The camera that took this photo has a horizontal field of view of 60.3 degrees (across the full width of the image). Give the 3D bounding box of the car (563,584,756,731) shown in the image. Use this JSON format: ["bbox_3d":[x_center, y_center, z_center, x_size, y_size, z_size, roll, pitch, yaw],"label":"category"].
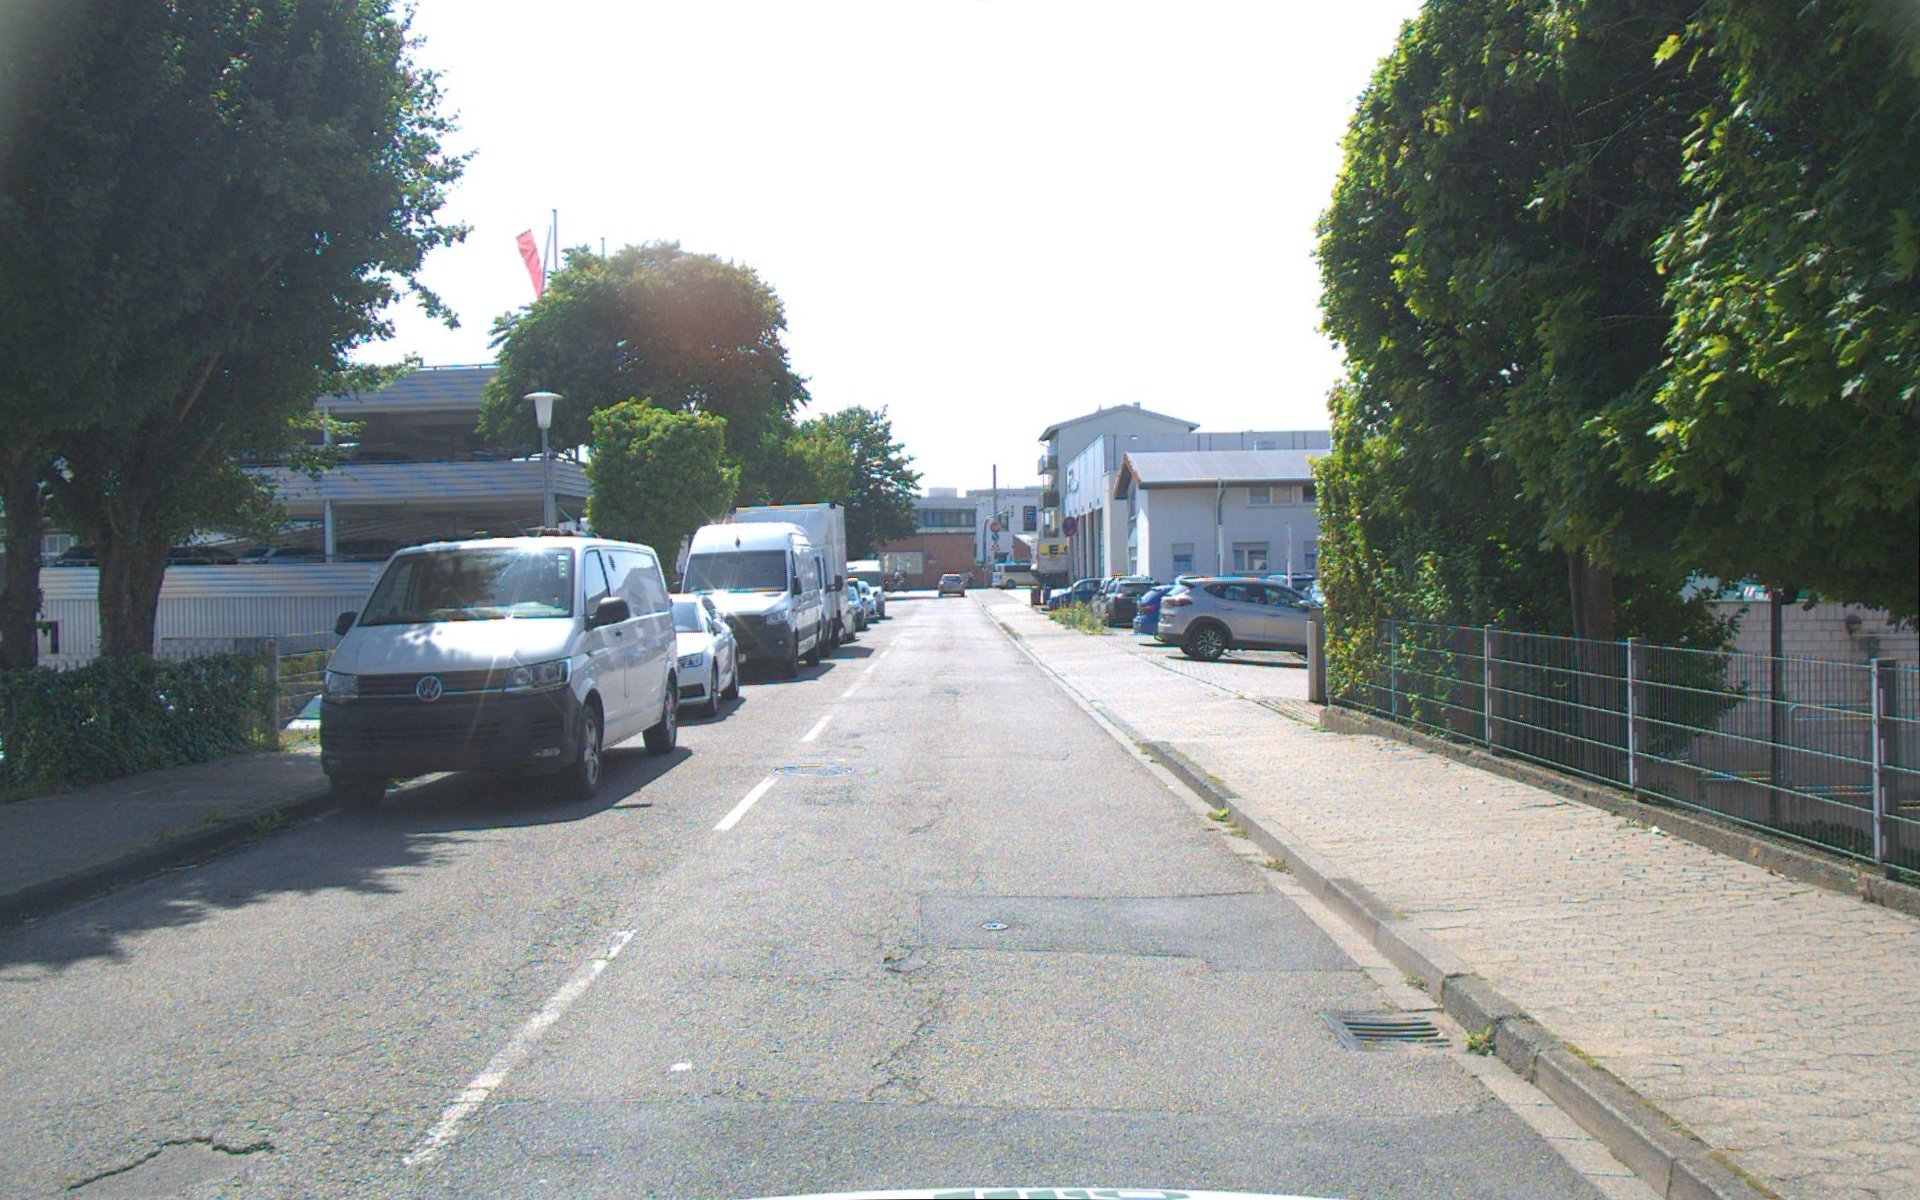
[{"bbox_3d":[-3.665,0.639,20.859,1.679,1.570,4.399,-3,0,-2],"label":"car"}]

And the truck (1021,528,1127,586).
[{"bbox_3d":[8.348,-3.161,121.620,7.220,3.708,2.764,-4,1,-7],"label":"truck"}]

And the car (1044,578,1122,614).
[{"bbox_3d":[5.216,-0.184,70.414,3.186,1.423,1.673,-1,1,0],"label":"car"}]

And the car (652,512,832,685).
[{"bbox_3d":[-3.731,-0.036,29.672,2.124,2.641,6.920,-3,0,1],"label":"car"}]

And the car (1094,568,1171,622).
[{"bbox_3d":[5.471,-0.207,52.975,1.820,1.595,4.951,-1,1,-1],"label":"car"}]

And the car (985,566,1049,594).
[{"bbox_3d":[4.444,-1.573,129.825,4.585,1.992,1.905,-3,-1,-20],"label":"car"}]

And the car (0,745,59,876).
[{"bbox_3d":[-16.359,3.462,26.168,1.823,1.963,4.354,0,0,0],"label":"car"}]

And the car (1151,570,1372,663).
[{"bbox_3d":[6.091,0.321,33.740,4.116,1.711,1.766,2,0,-1],"label":"car"}]

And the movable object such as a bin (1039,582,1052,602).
[{"bbox_3d":[4.049,-0.384,78.409,0.502,0.962,0.488,-2,1,11],"label":"movable object such as a bin"}]

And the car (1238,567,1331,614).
[{"bbox_3d":[11.420,-0.352,58.441,1.728,1.522,4.138,-3,1,-11],"label":"car"}]

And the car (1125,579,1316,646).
[{"bbox_3d":[6.215,0.277,39.798,4.264,1.466,1.892,-2,1,-1],"label":"car"}]

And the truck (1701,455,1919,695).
[{"bbox_3d":[16.762,-0.436,26.860,8.103,3.674,2.954,-1,0,2],"label":"truck"}]

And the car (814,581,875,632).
[{"bbox_3d":[-3.732,0.186,54.008,1.670,1.488,4.114,-3,1,0],"label":"car"}]

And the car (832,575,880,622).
[{"bbox_3d":[-4.013,-0.080,63.395,1.671,1.652,3.969,-3,1,-5],"label":"car"}]

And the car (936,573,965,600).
[{"bbox_3d":[-0.643,-0.914,112.447,1.852,1.714,3.957,2,0,-1],"label":"car"}]

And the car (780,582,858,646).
[{"bbox_3d":[-3.708,0.332,44.135,1.706,1.547,4.310,-1,1,-1],"label":"car"}]

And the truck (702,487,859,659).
[{"bbox_3d":[-3.891,-0.562,37.409,2.630,3.425,7.130,-2,0,0],"label":"truck"}]

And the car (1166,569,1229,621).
[{"bbox_3d":[8.004,-0.193,55.957,1.723,1.622,3.620,2,1,3],"label":"car"}]

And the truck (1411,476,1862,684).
[{"bbox_3d":[12.552,-0.373,31.090,7.365,3.482,2.527,2,0,0],"label":"truck"}]

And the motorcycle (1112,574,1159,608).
[{"bbox_3d":[7.327,-0.373,69.147,1.832,1.301,0.796,-3,1,-3],"label":"motorcycle"}]

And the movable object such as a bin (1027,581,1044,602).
[{"bbox_3d":[3.567,-0.392,77.992,0.557,0.962,0.556,-1,1,33],"label":"movable object such as a bin"}]

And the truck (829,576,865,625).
[{"bbox_3d":[-4.063,-0.009,59.785,1.116,1.650,3.140,-3,1,-3],"label":"truck"}]

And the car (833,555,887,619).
[{"bbox_3d":[-4.086,-0.573,68.566,1.965,2.407,5.227,-4,1,-2],"label":"car"}]

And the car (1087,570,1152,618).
[{"bbox_3d":[5.597,-0.251,58.533,1.775,1.585,4.292,-1,1,-1],"label":"car"}]

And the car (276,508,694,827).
[{"bbox_3d":[-3.608,0.440,13.685,1.931,2.048,5.056,-3,0,0],"label":"car"}]
